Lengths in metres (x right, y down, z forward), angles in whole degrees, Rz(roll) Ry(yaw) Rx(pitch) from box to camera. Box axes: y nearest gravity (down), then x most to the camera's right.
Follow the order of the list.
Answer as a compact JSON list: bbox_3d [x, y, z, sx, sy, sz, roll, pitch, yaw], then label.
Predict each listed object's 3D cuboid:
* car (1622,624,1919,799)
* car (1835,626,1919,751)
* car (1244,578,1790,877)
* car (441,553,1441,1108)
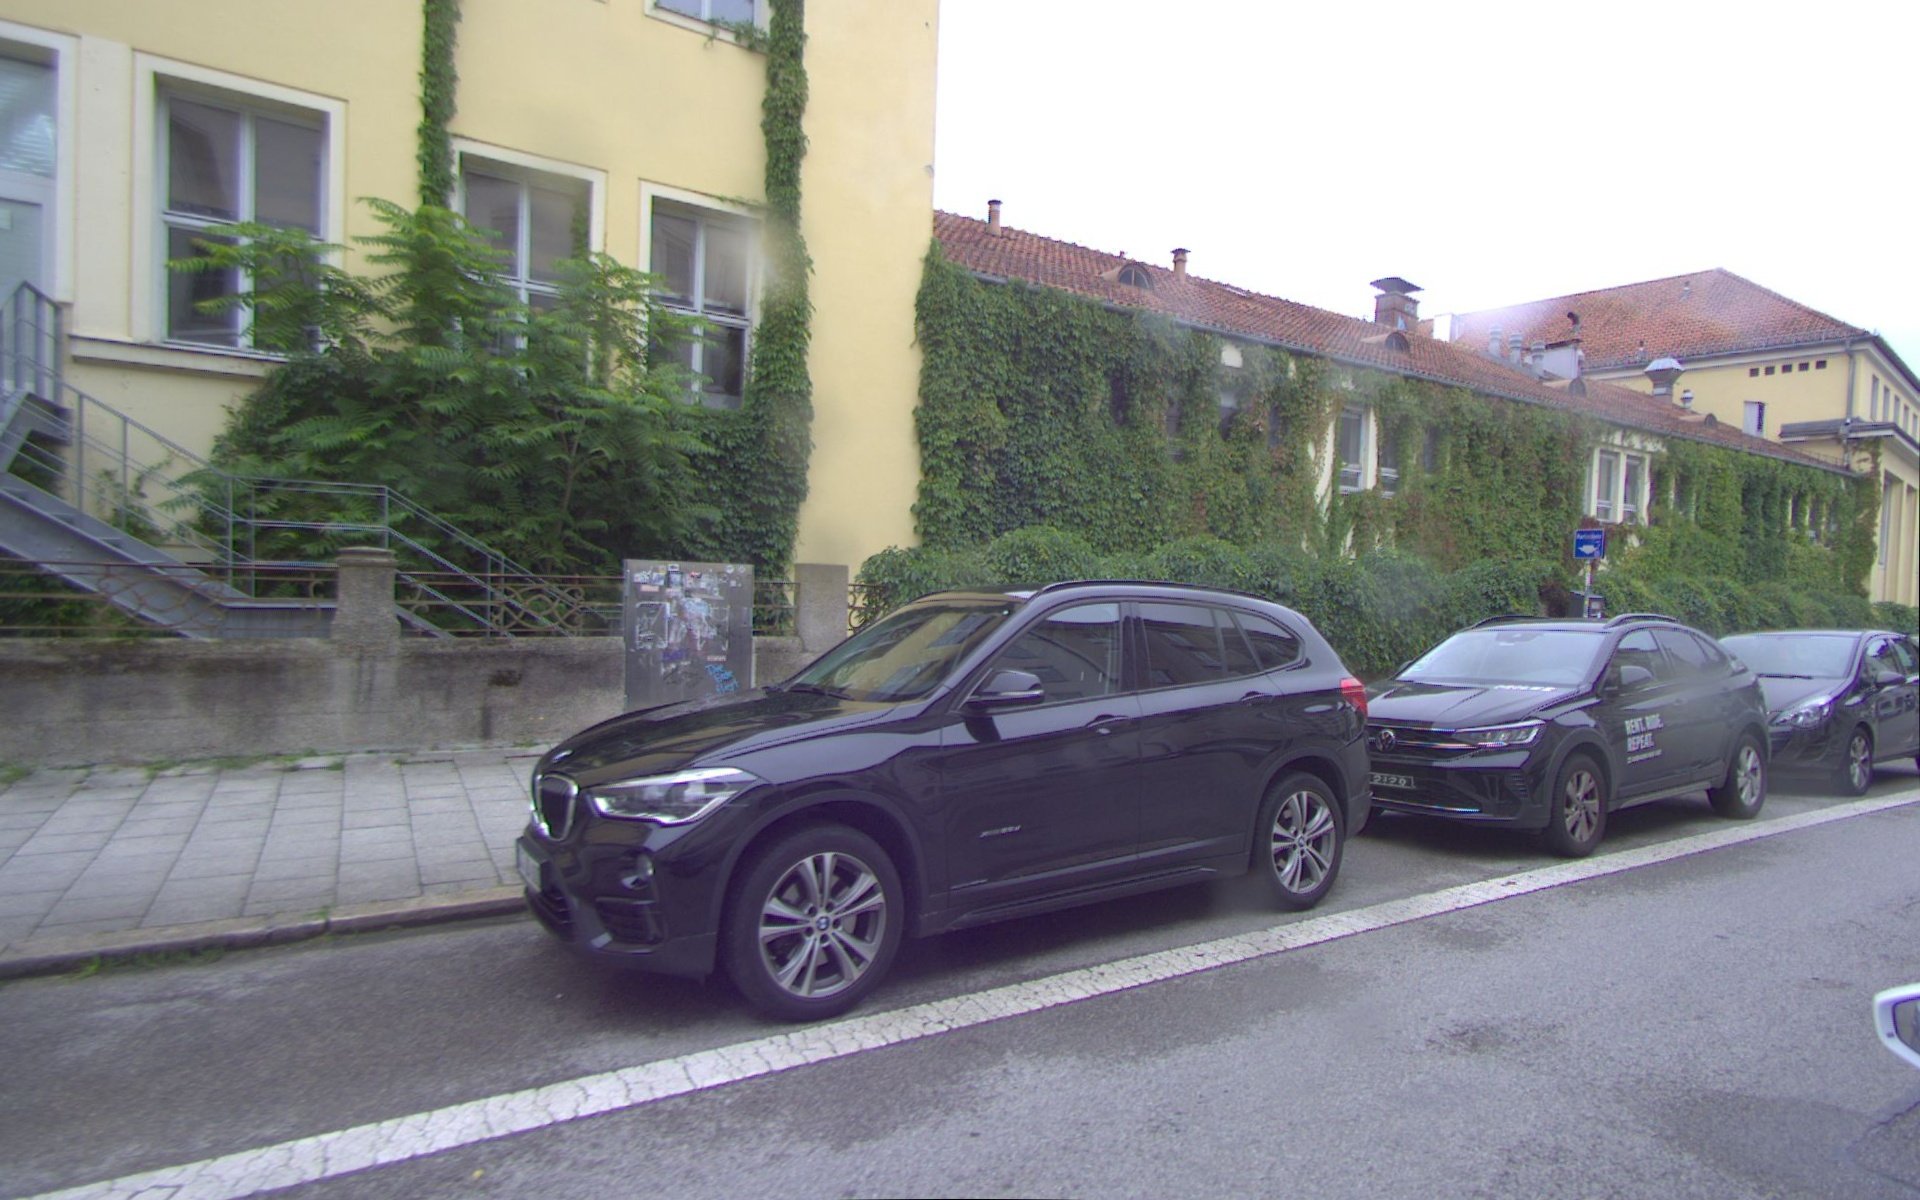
[{"bbox_3d":[8.558,0.997,10.119,4.205,1.449,1.595,2,-2,-33],"label":"car"},{"bbox_3d":[12.952,1.089,12.891,3.976,1.460,1.582,2,-2,-33],"label":"car"},{"bbox_3d":[4.289,0.769,7.490,4.418,1.651,1.714,2,-1,-33],"label":"car"},{"bbox_3d":[0.192,0.738,4.986,4.767,1.607,1.779,2,-2,-33],"label":"car"}]
